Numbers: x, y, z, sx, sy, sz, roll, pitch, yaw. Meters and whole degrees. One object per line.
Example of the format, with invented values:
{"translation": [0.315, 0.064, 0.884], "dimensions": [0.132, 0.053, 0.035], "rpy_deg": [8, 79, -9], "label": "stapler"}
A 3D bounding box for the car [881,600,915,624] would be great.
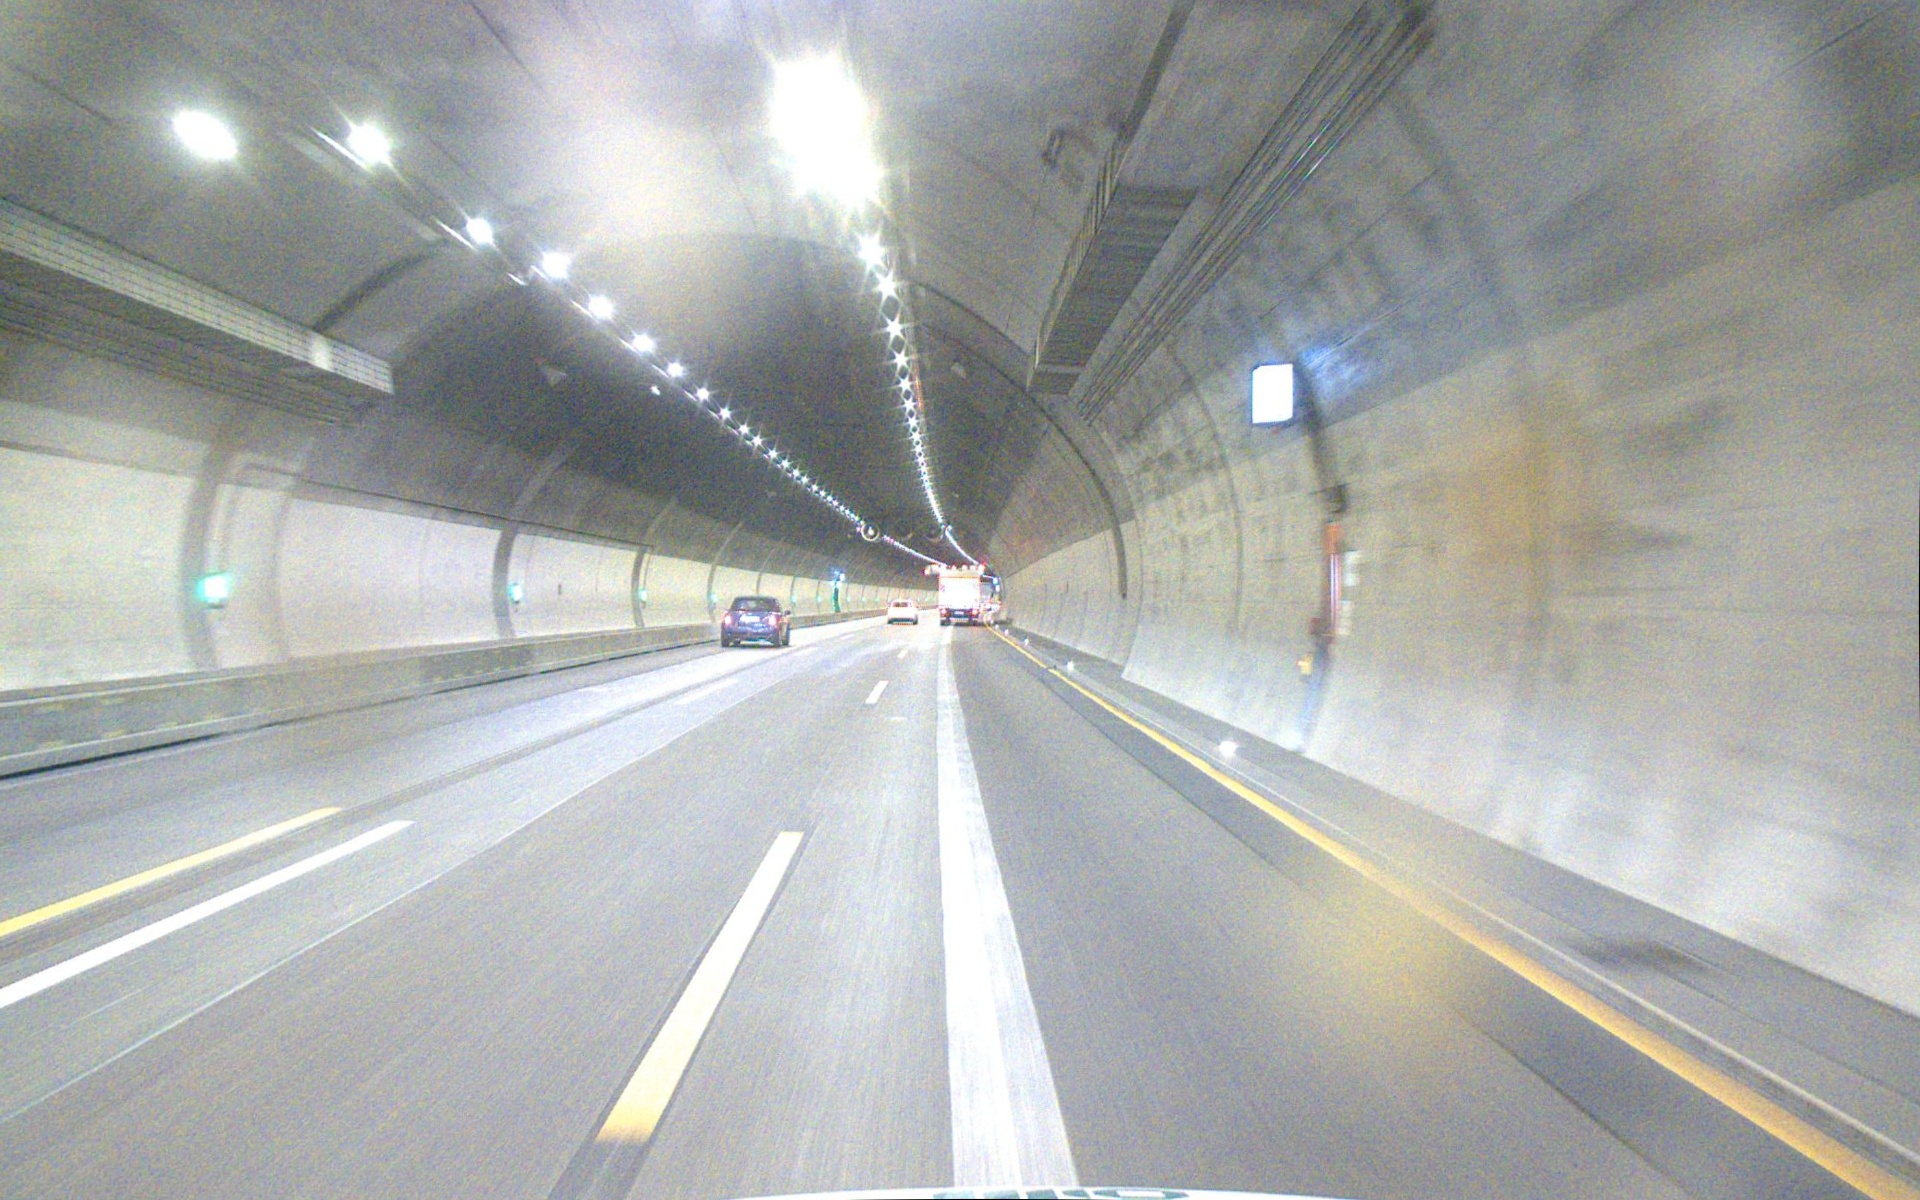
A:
{"translation": [-3.807, 0.716, 102.318], "dimensions": [1.953, 1.437, 4.742], "rpy_deg": [0, 0, -1], "label": "car"}

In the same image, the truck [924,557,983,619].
{"translation": [-0.378, -0.770, 105.157], "dimensions": [3.519, 3.714, 10.721], "rpy_deg": [0, 0, 0], "label": "truck"}

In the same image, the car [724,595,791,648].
{"translation": [-5.746, 0.578, 47.287], "dimensions": [1.655, 1.442, 3.920], "rpy_deg": [1, 0, -3], "label": "car"}
